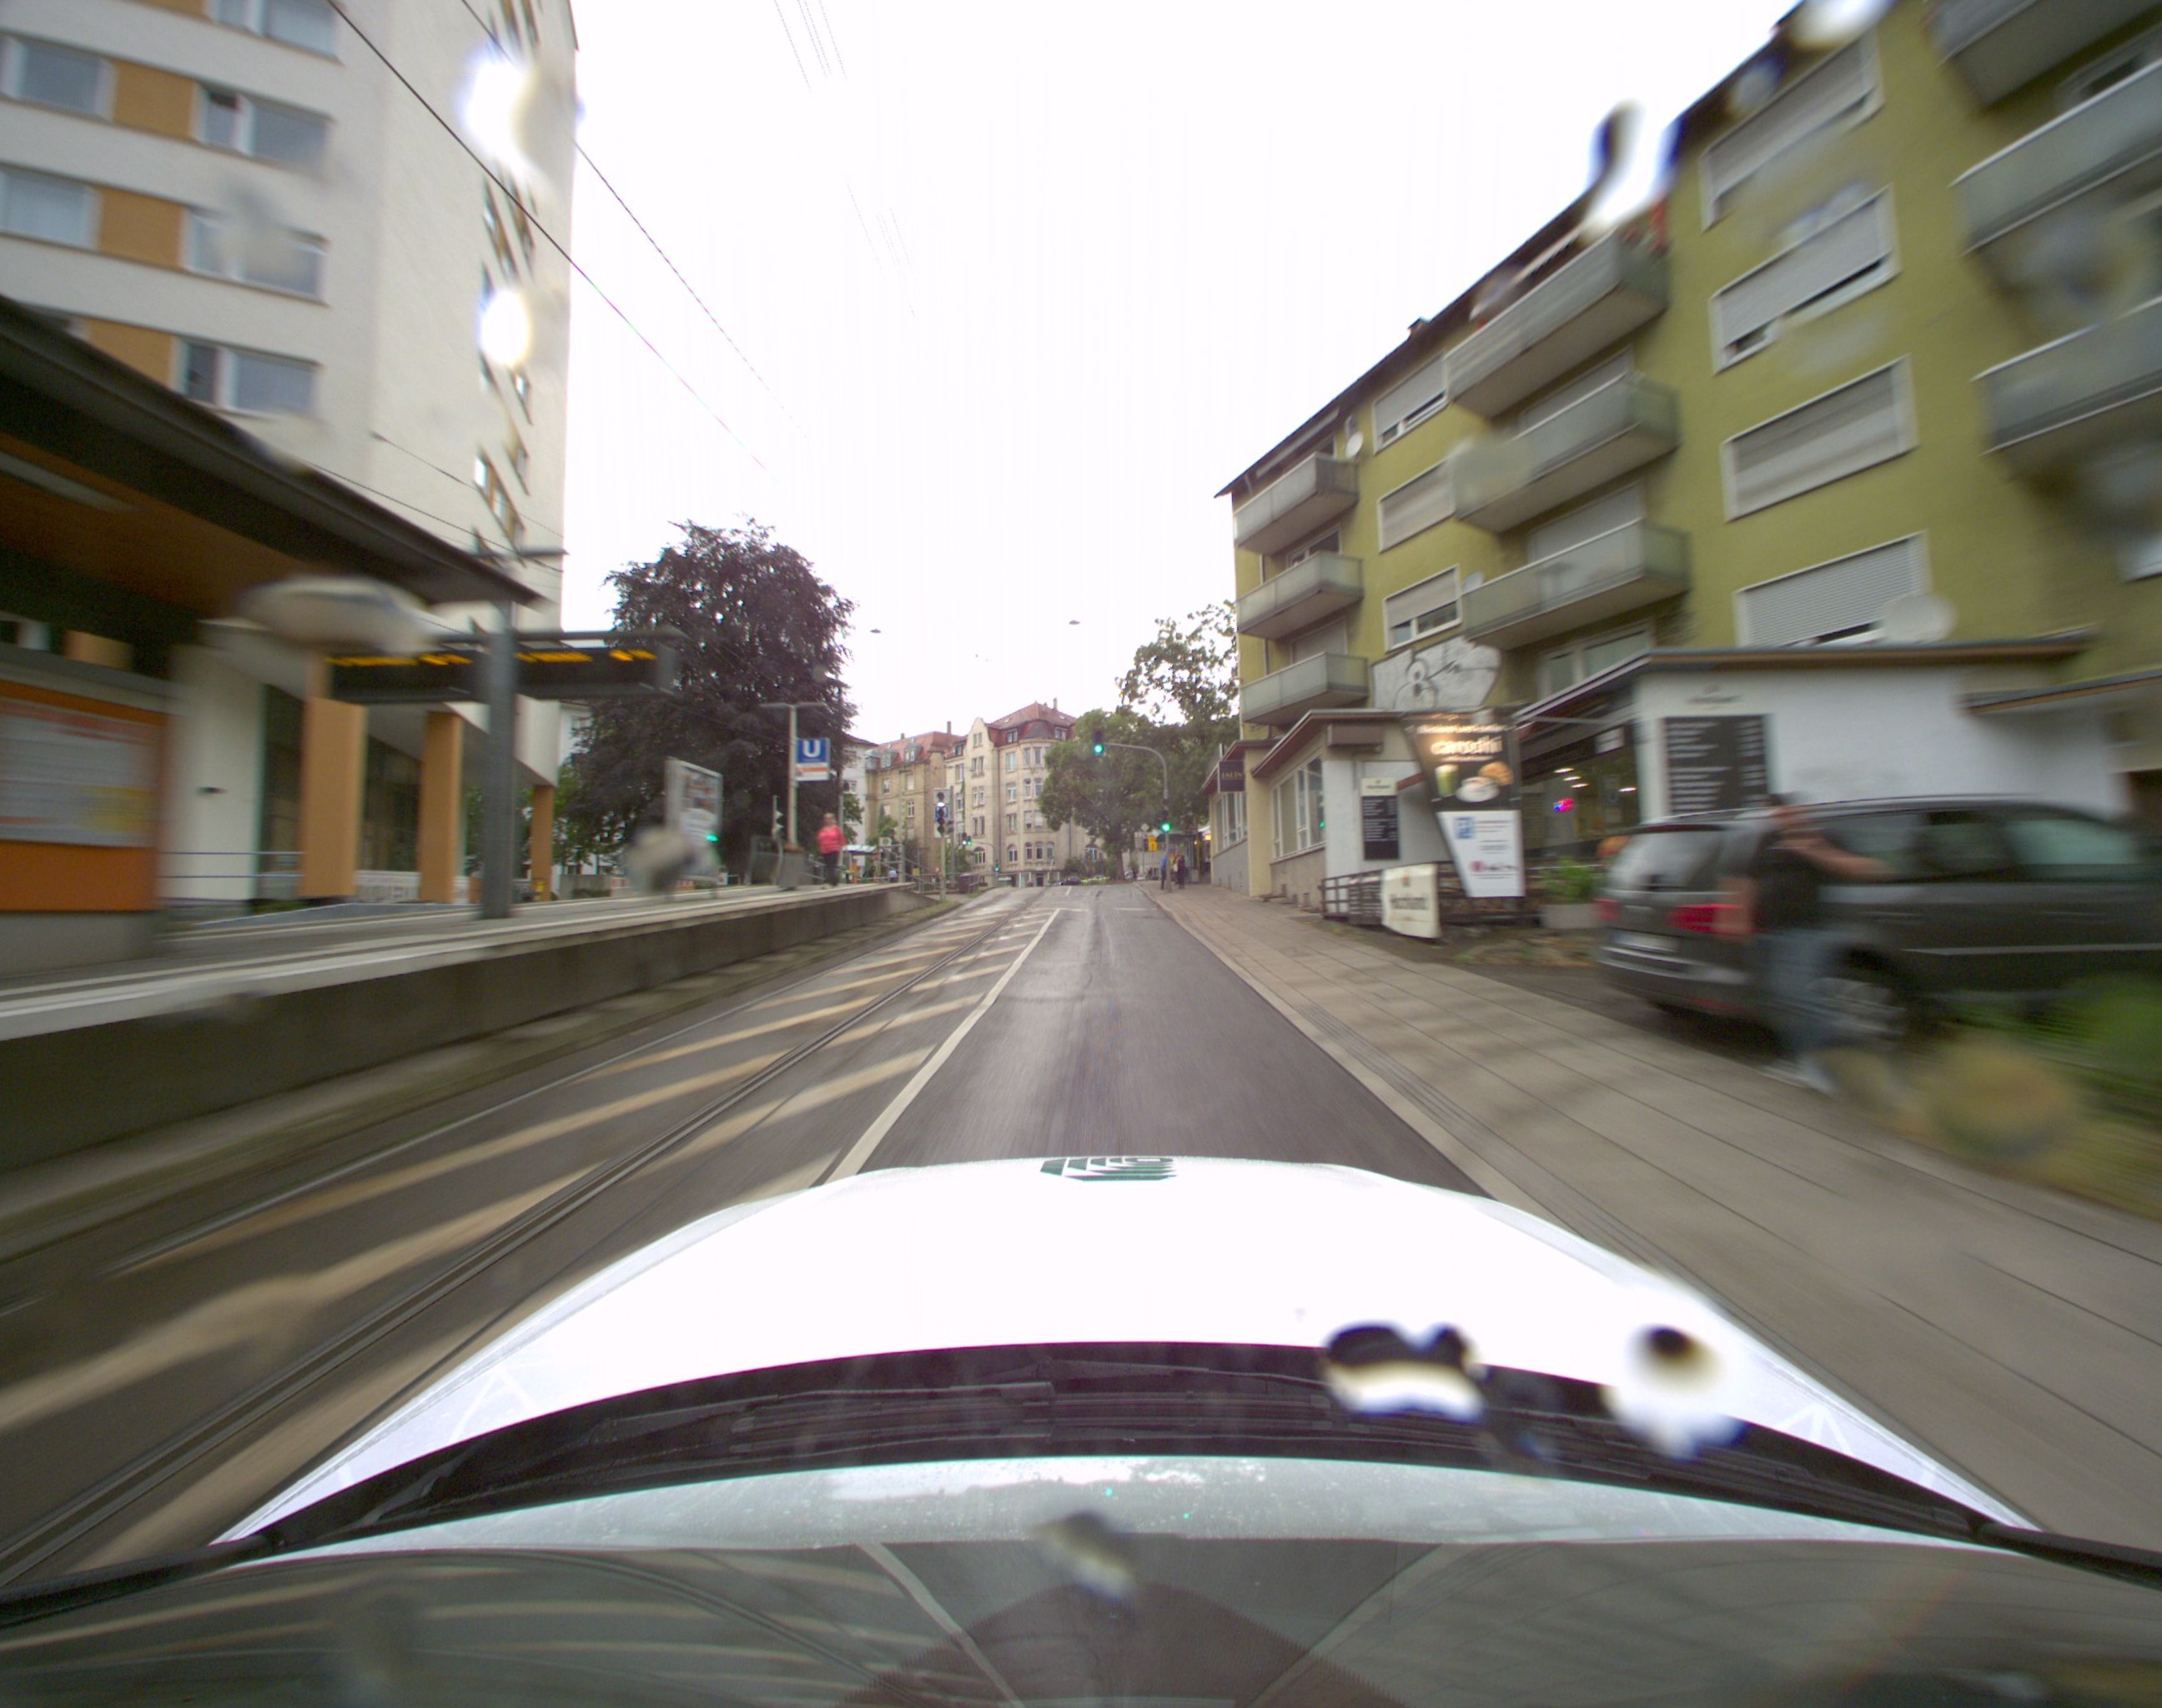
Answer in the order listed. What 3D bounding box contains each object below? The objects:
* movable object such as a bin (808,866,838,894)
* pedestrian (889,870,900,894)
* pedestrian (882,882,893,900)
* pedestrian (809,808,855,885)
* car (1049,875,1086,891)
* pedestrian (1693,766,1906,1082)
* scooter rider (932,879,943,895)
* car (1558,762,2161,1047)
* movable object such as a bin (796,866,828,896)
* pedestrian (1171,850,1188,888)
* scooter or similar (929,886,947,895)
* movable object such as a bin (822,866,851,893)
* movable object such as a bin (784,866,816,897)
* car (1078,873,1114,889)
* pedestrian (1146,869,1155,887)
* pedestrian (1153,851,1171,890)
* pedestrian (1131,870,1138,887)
[{"bbox_3d":[-13.280,1.322,41.941,1.016,1.434,1.445,0,-1,3],"label":"movable object such as a bin"},{"bbox_3d":[-13.135,1.989,57.337,0.567,1.684,0.774,-2,-3,-6],"label":"pedestrian"},{"bbox_3d":[-18.624,3.588,78.322,0.749,1.700,0.665,1,-2,-44],"label":"pedestrian"},{"bbox_3d":[-5.224,-0.153,17.131,0.668,1.548,0.771,-2,-1,1],"label":"pedestrian"},{"bbox_3d":[-1.470,3.054,87.294,3.690,1.508,1.717,-2,-2,-41],"label":"car"},{"bbox_3d":[4.203,0.391,4.828,0.602,1.714,0.724,-3,-1,14],"label":"pedestrian"},{"bbox_3d":[-16.241,3.717,92.192,0.833,1.706,0.628,-1,-6,28],"label":"scooter rider"},{"bbox_3d":[6.205,0.288,5.957,4.310,1.674,1.782,-3,0,3],"label":"car"},{"bbox_3d":[-13.295,1.311,40.269,1.016,1.434,1.356,0,-1,3],"label":"movable object such as a bin"},{"bbox_3d":[4.062,0.618,33.587,0.544,1.554,0.558,-3,-1,-1],"label":"pedestrian"},{"bbox_3d":[-16.189,4.123,92.122,1.983,1.050,0.518,-1,-6,28],"label":"scooter or similar"},{"bbox_3d":[-13.136,1.361,43.738,1.016,1.434,1.428,0,-1,3],"label":"movable object such as a bin"},{"bbox_3d":[-13.377,1.297,38.799,1.016,1.434,1.305,0,-1,3],"label":"movable object such as a bin"},{"bbox_3d":[1.686,2.985,90.225,3.690,1.508,1.717,-2,-2,-41],"label":"car"},{"bbox_3d":[6.272,2.139,73.312,0.547,1.630,0.595,1,-1,-32],"label":"pedestrian"},{"bbox_3d":[3.305,0.672,33.200,0.586,1.554,0.650,-3,-1,1],"label":"pedestrian"},{"bbox_3d":[4.869,2.236,74.086,0.599,1.566,0.544,0,-1,-9],"label":"pedestrian"}]
